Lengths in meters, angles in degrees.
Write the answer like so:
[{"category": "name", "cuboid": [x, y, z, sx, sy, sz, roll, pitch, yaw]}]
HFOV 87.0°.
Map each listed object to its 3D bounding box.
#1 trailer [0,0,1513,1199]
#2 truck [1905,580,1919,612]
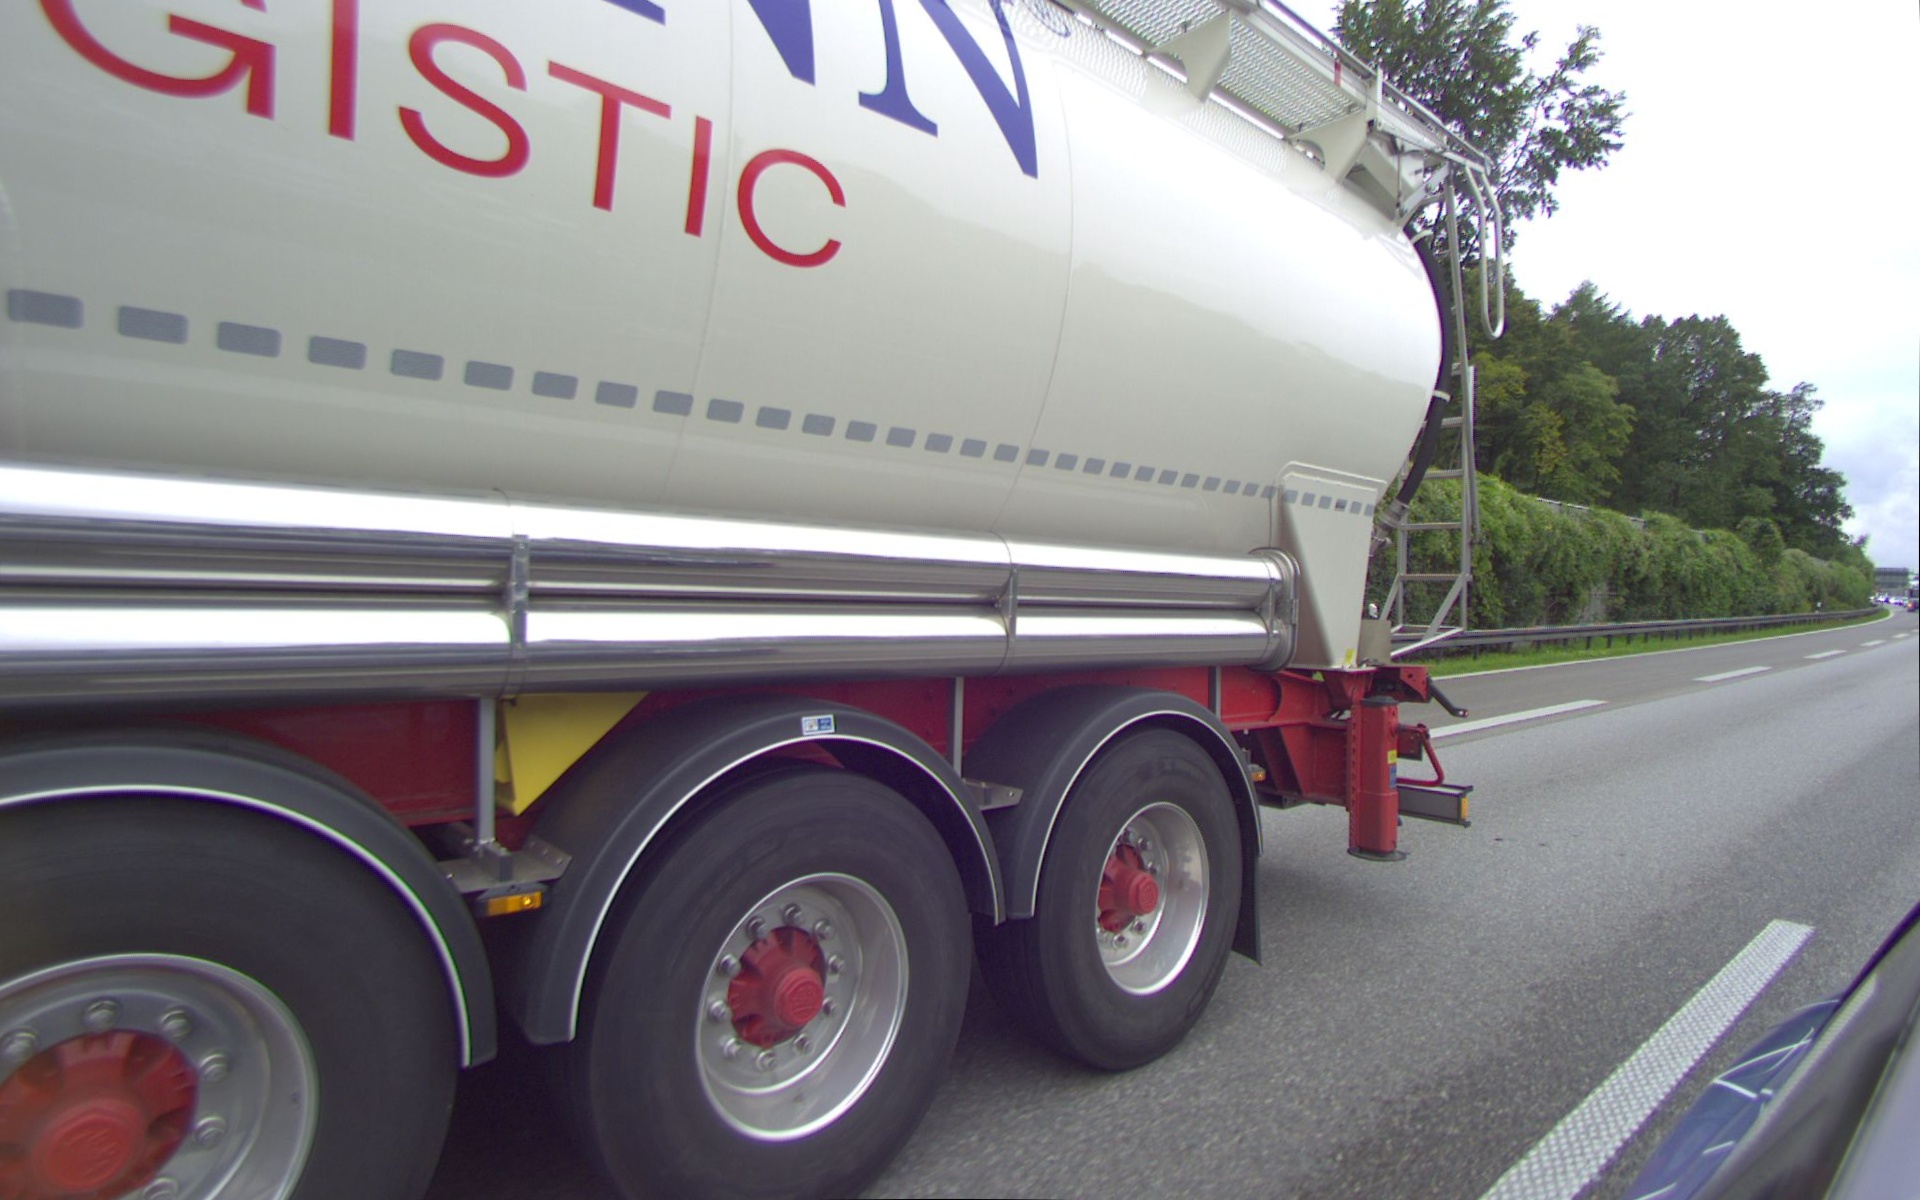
[{"category": "trailer", "cuboid": [-3.110, -0.589, 1.516, 12.902, 3.988, 2.672, 0, 1, -41]}, {"category": "truck", "cuboid": [119.054, -0.562, 124.988, 2.696, 3.757, 8.131, 1, 2, 38]}]
